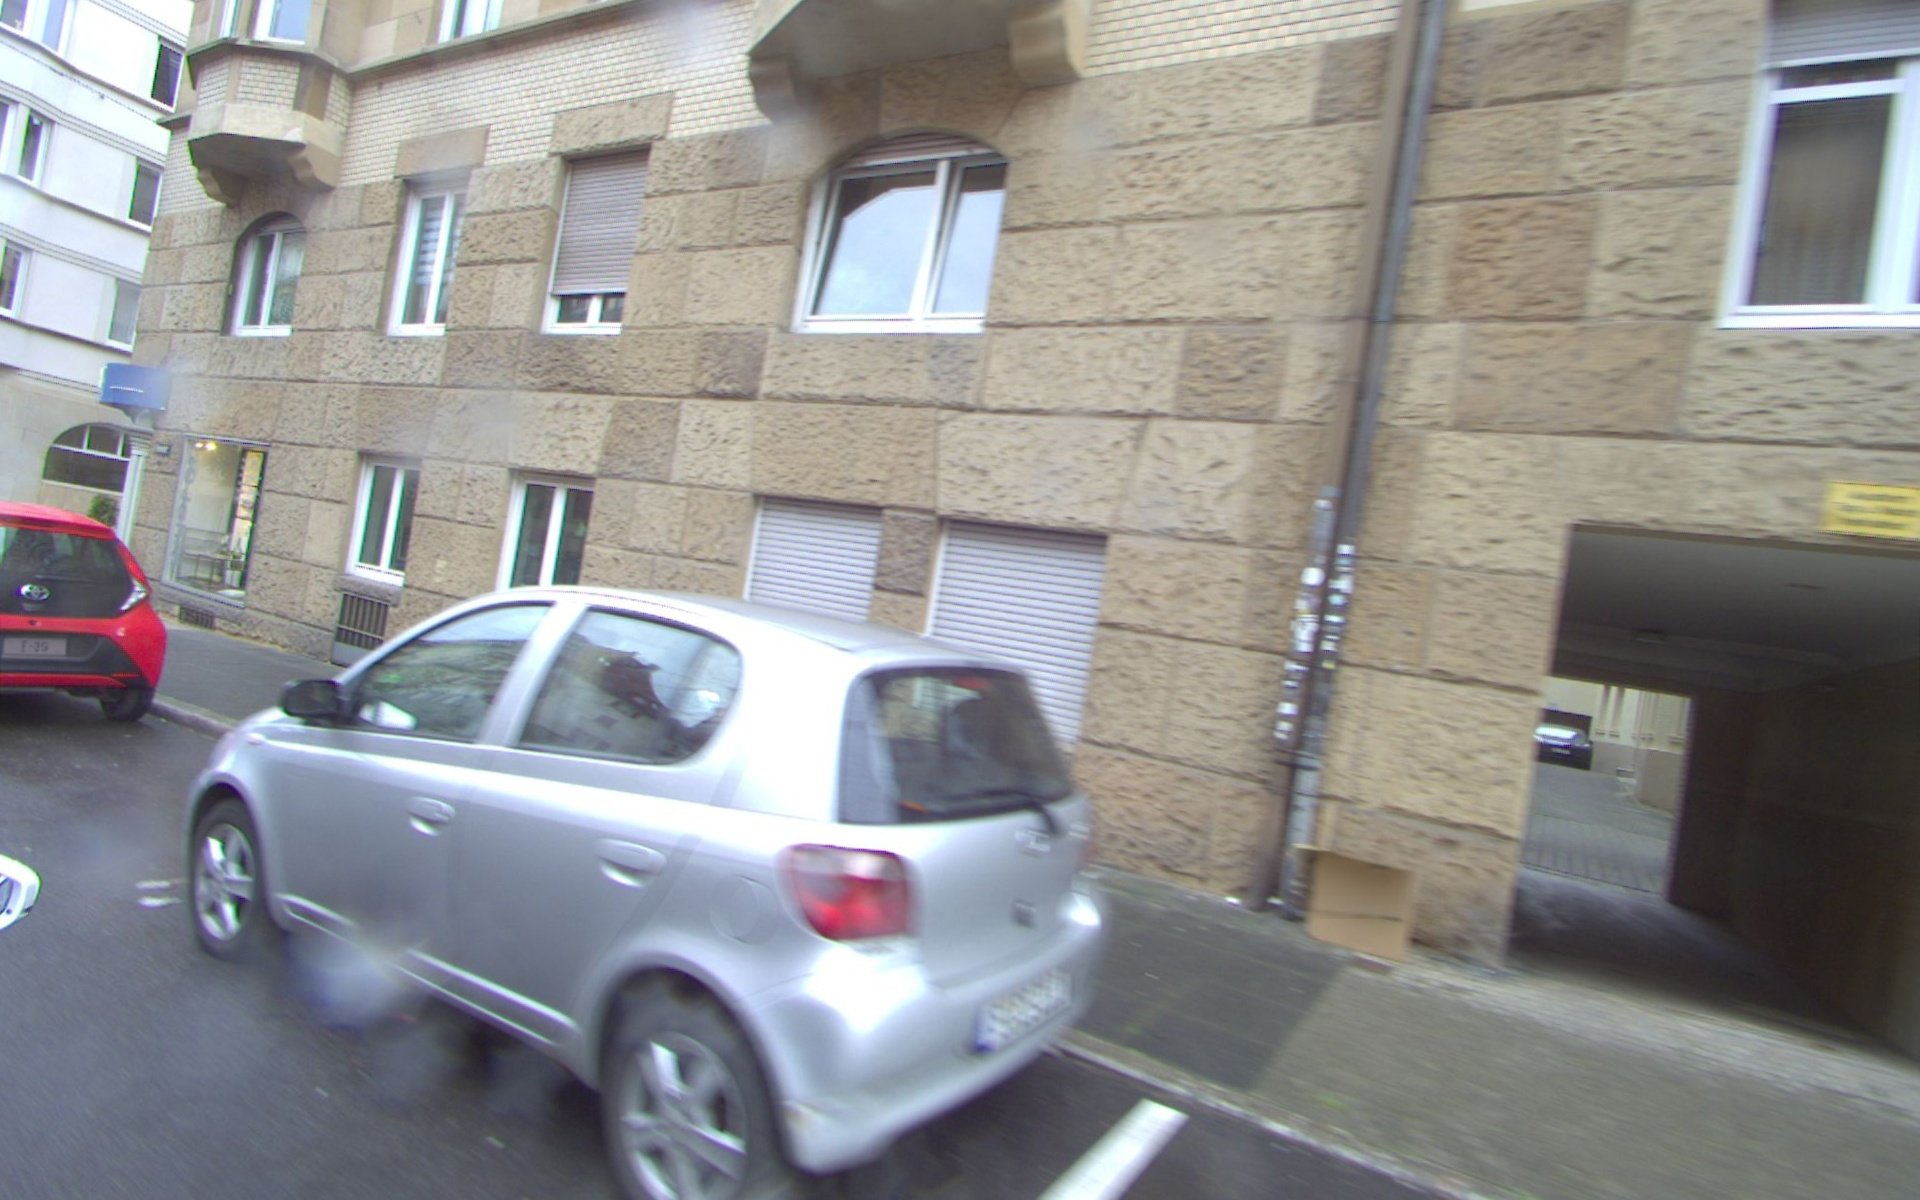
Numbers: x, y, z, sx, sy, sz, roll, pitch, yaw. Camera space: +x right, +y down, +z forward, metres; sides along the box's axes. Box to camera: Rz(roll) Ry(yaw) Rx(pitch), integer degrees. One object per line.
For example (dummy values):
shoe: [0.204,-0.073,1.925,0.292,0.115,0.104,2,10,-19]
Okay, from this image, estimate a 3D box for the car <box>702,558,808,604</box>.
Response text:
car: [-8.573,-0.753,42.396,1.946,1.588,4.362,4,0,30]

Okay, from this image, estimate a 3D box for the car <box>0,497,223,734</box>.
car: [-7.345,-0.040,7.373,3.472,1.469,1.711,7,-3,29]

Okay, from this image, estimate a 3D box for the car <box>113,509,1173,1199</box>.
car: [-1.252,0.648,3.583,3.464,1.504,1.597,7,-1,32]
